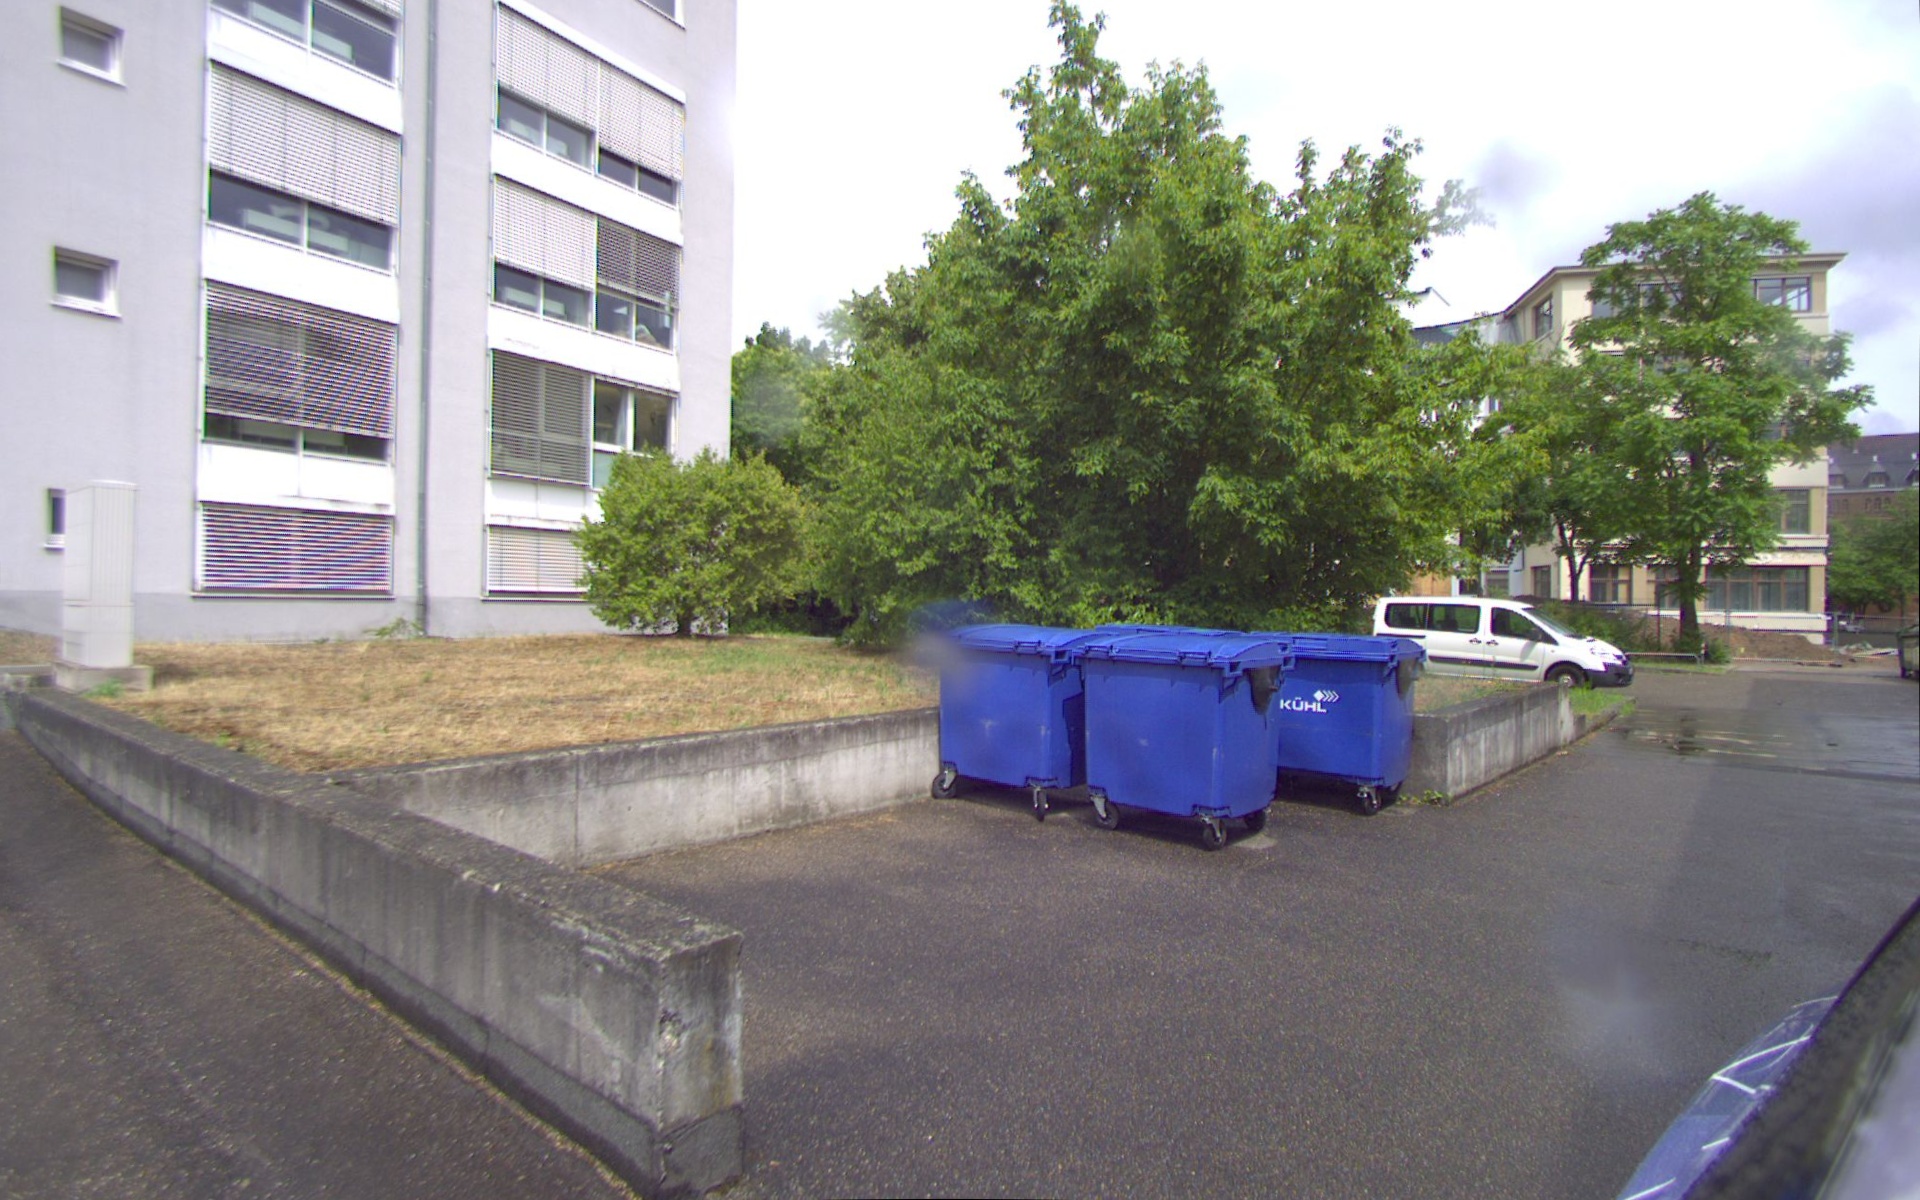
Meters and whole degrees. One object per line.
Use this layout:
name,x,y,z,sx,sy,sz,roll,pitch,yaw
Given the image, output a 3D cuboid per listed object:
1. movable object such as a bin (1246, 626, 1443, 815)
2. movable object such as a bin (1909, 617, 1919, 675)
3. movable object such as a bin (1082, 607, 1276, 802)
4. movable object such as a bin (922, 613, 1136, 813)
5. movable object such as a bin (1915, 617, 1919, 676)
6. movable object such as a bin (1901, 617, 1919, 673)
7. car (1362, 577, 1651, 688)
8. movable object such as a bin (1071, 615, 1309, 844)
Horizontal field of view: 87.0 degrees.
movable object such as a bin,3.027,0.882,7.963,1.172,1.335,1.040,-2,-3,39
movable object such as a bin,25.812,1.199,26.408,1.357,1.490,1.444,-2,-3,39
movable object such as a bin,1.871,0.836,8.648,1.272,1.502,1.086,-2,-3,39
movable object such as a bin,0.526,0.788,7.683,1.227,1.334,1.040,1,-2,39
movable object such as a bin,24.916,1.174,25.289,1.357,1.490,1.333,-2,-3,39
movable object such as a bin,26.750,1.227,27.620,1.406,1.490,1.538,-2,-3,39
car,11.165,0.624,20.941,4.935,2.039,1.969,-1,-1,43
movable object such as a bin,1.560,0.792,6.842,1.227,1.334,1.040,1,-2,39
